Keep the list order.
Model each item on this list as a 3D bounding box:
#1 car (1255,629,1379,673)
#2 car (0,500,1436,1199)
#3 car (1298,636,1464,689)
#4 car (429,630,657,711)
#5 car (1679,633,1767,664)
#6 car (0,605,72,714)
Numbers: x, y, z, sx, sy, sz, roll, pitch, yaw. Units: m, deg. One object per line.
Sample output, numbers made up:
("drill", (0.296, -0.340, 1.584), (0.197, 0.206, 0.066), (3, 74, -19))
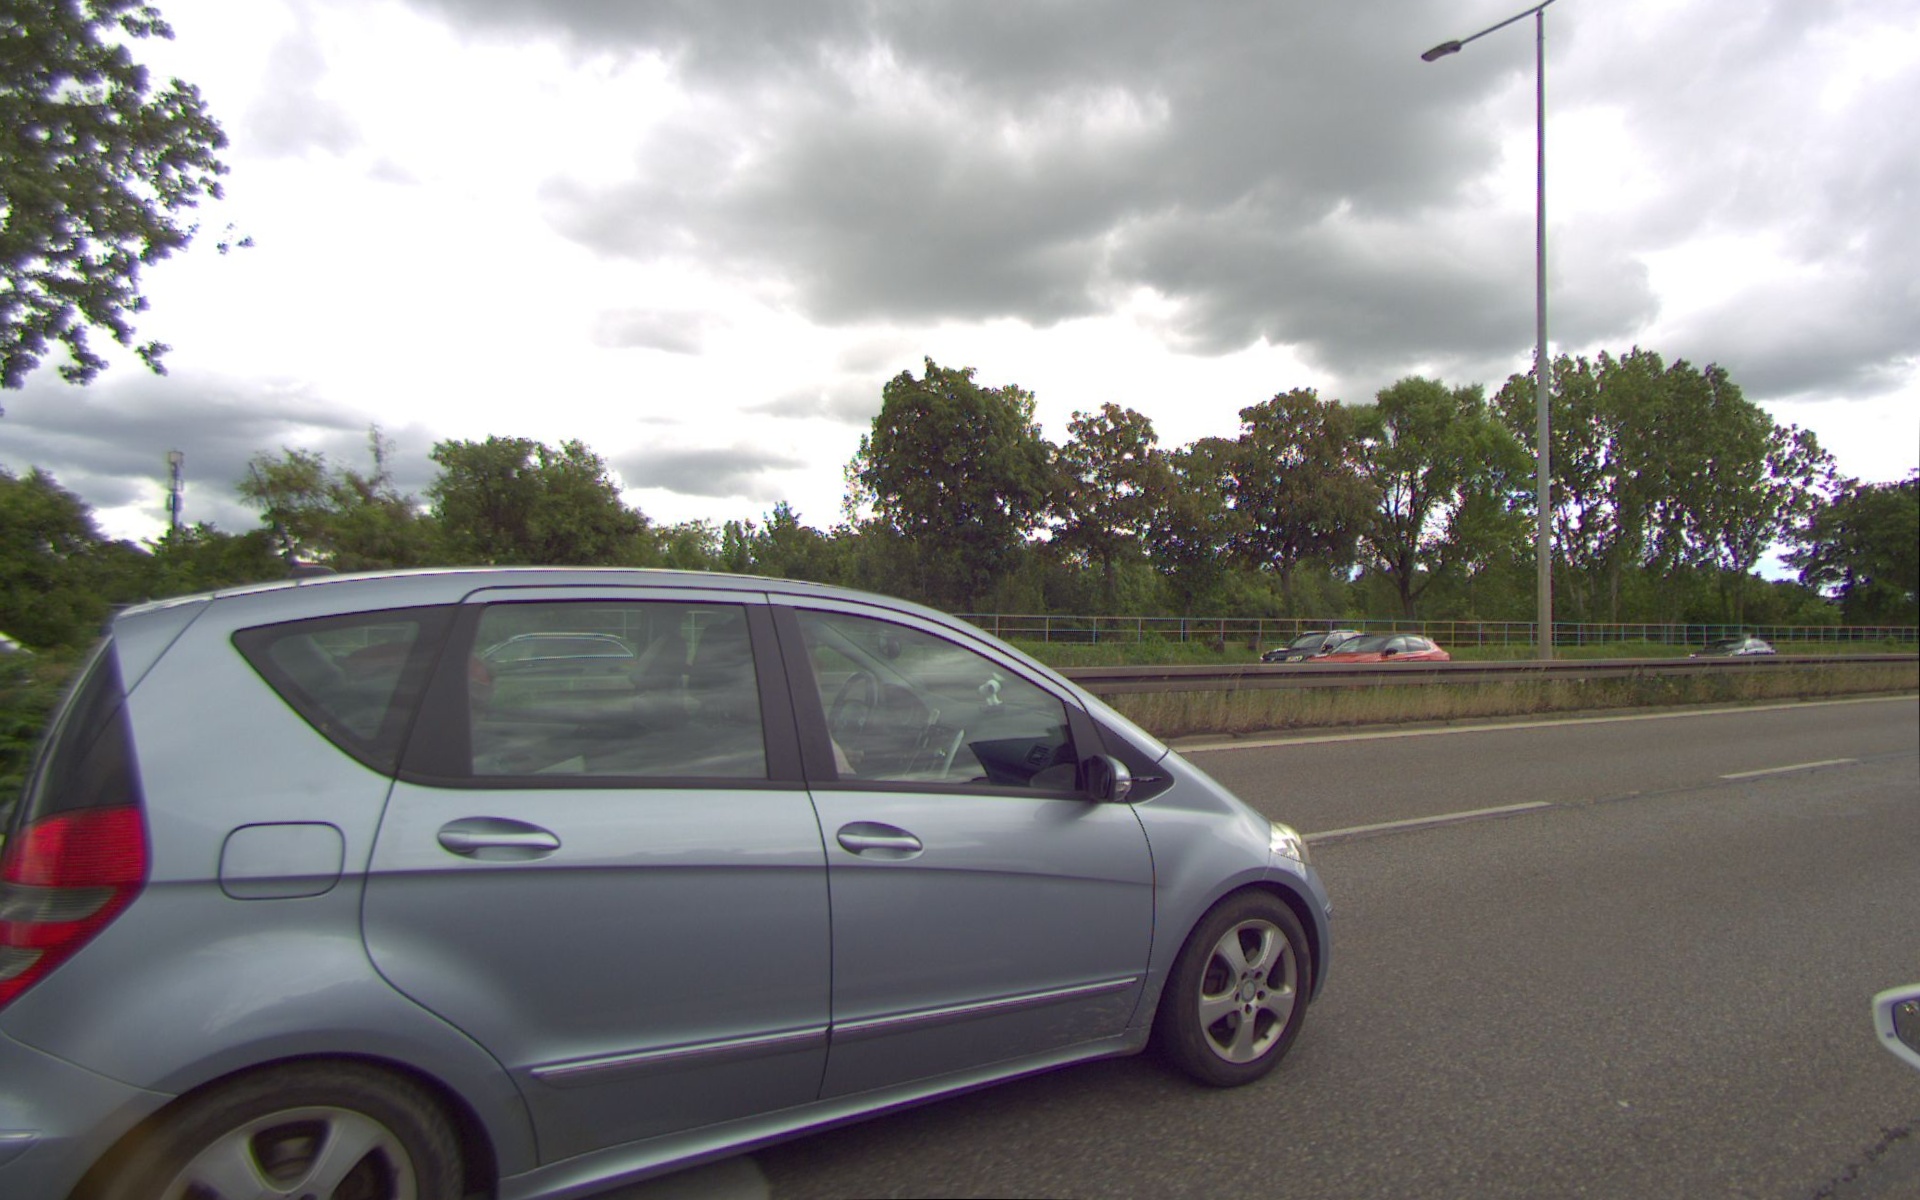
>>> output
("car", (11.517, 1.594, 32.311), (4.014, 1.316, 1.571), (1, -1, -31))
("car", (-0.576, 0.661, 3.191), (4.099, 1.559, 1.869), (1, -1, -31))
("car", (9.986, 1.426, 23.739), (4.019, 1.120, 1.538), (1, -1, -31))
("car", (-8.292, 1.334, 20.033), (4.019, 1.437, 1.768), (1, -1, -30))
("car", (35.246, 2.219, 46.374), (4.733, 1.316, 1.651), (1, -1, -32))
("car", (-14.497, 0.767, 13.137), (4.019, 1.437, 1.768), (1, -1, -30))
